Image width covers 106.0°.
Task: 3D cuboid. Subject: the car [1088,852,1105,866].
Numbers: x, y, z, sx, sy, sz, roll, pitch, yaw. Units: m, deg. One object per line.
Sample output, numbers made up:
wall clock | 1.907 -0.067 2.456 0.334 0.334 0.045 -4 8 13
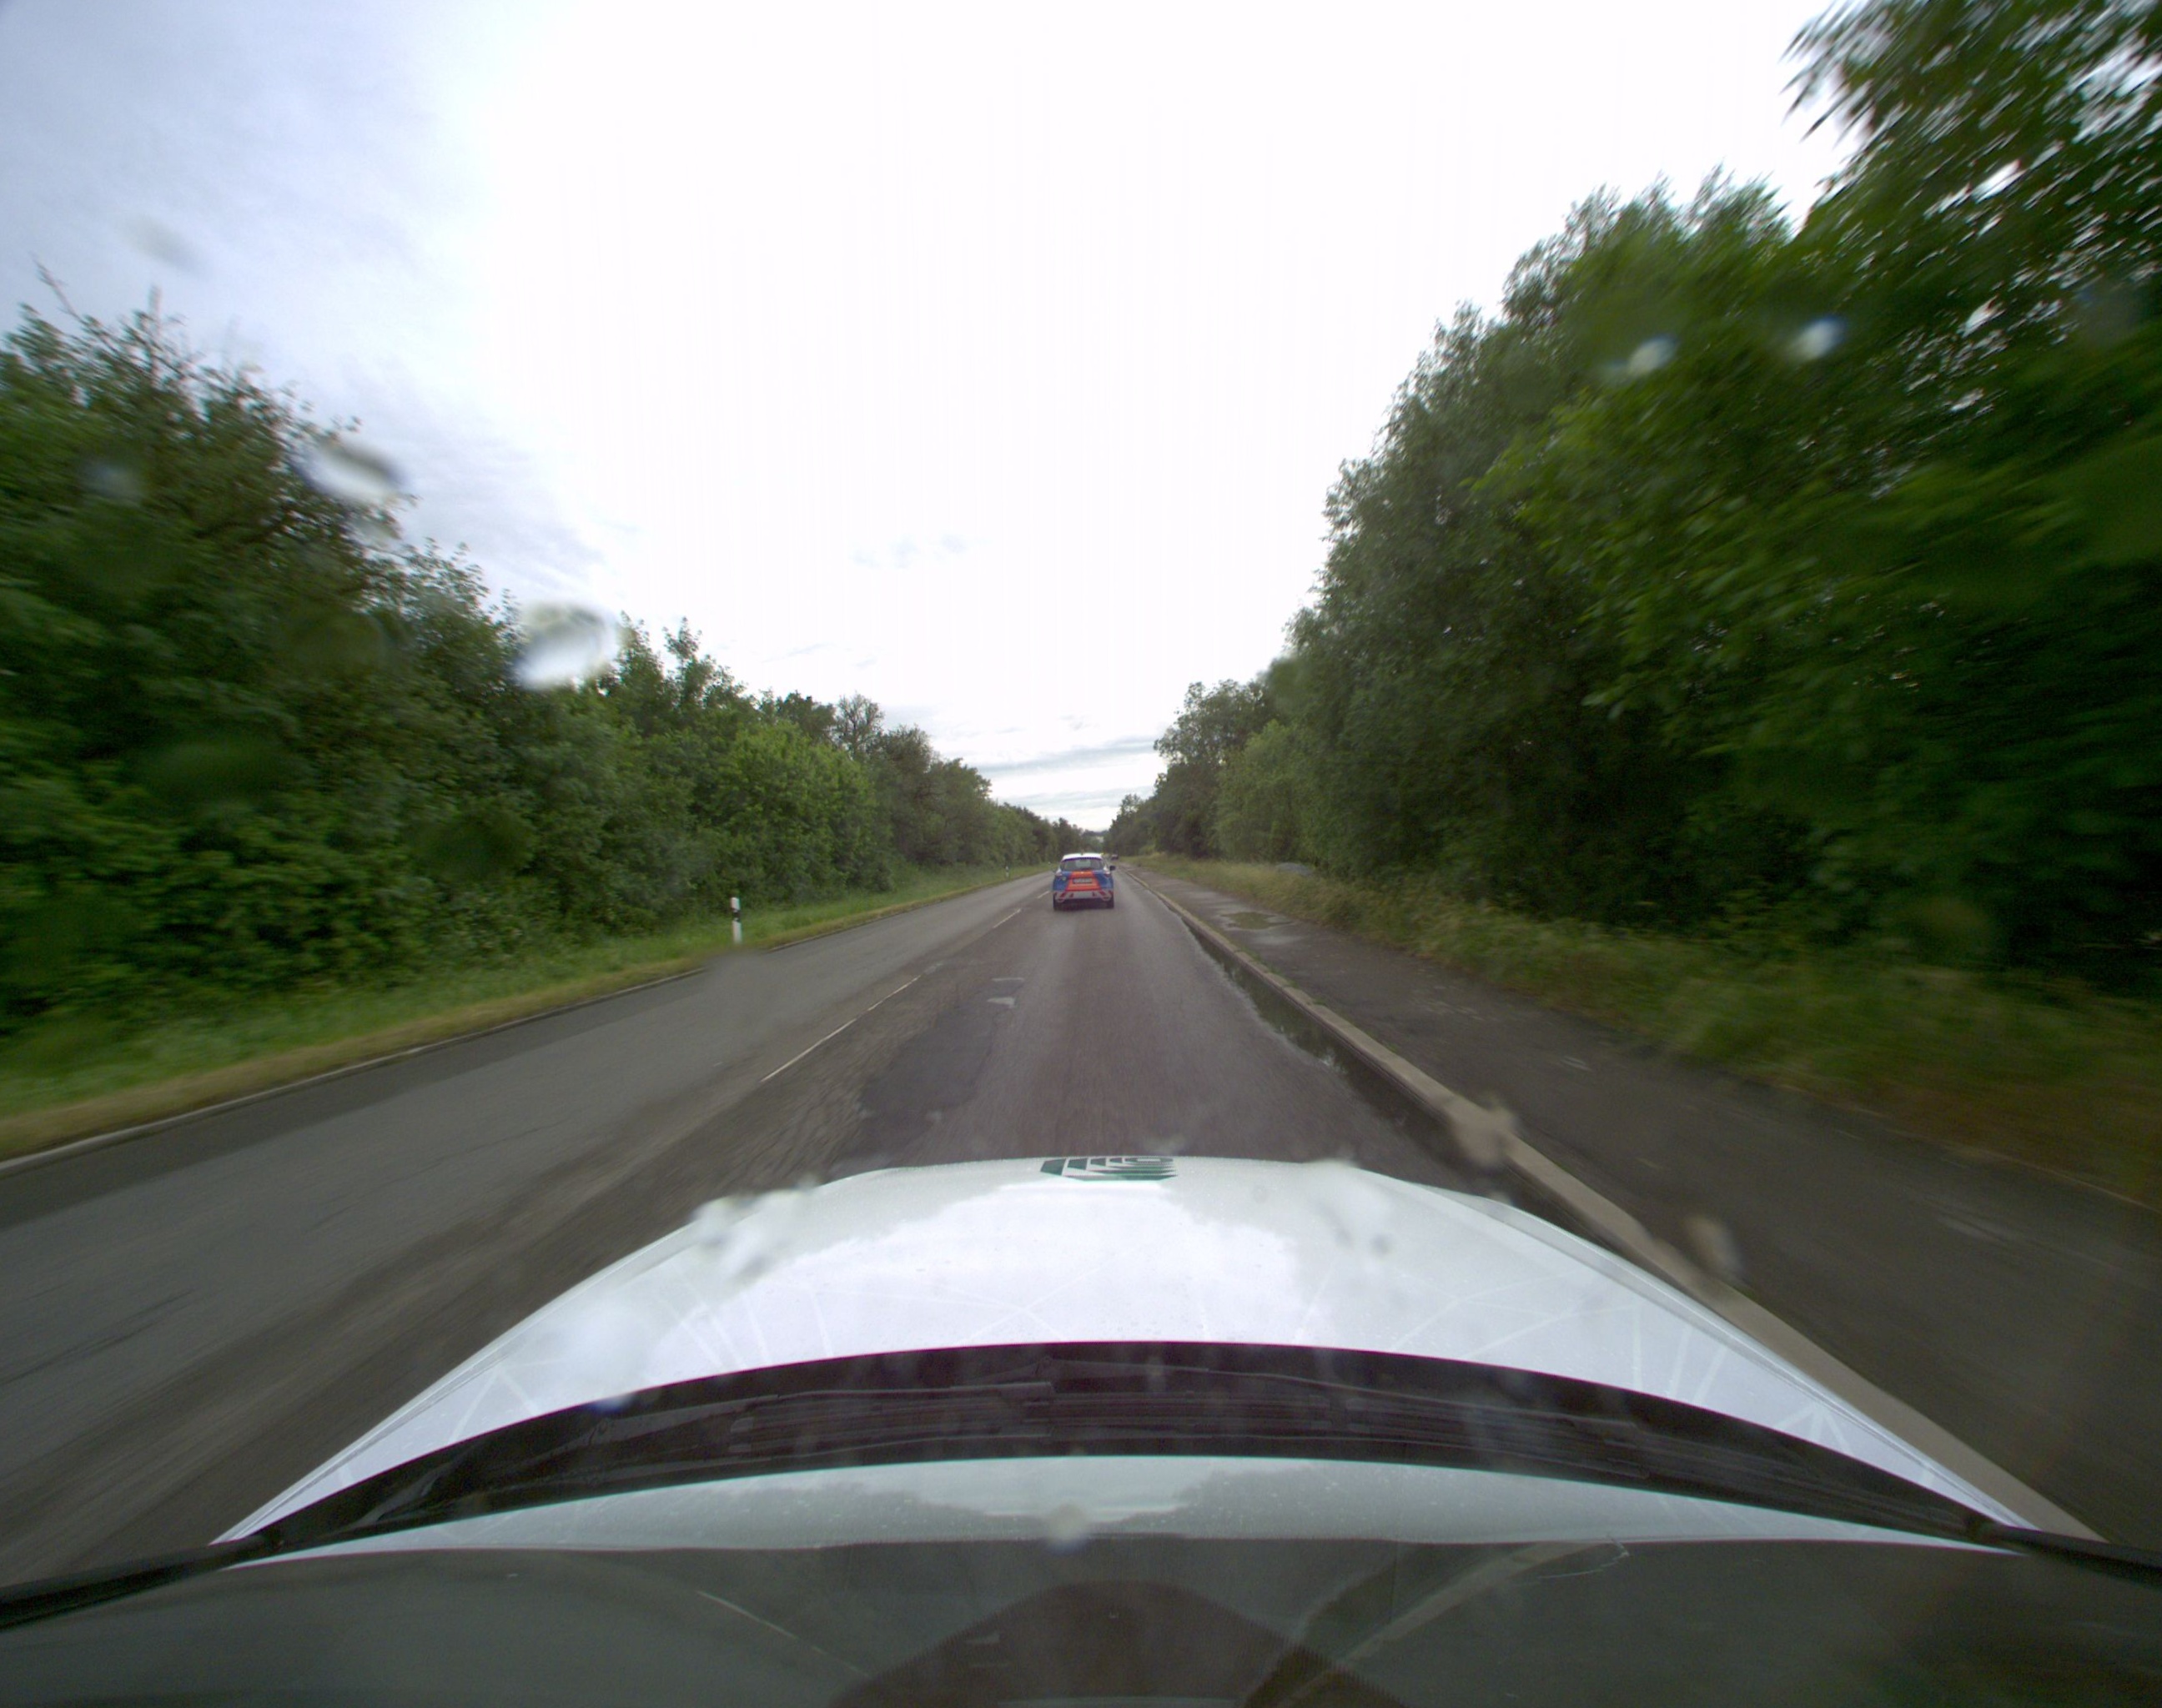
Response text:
car | 2.000 0.620 105.310 1.934 1.723 4.065 -4 0 2

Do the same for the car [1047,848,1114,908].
car | 0.033 0.631 23.925 1.746 1.555 3.793 -2 1 1

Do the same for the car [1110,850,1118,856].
car | 9.017 -0.350 220.267 1.986 1.376 4.002 -4 0 2
